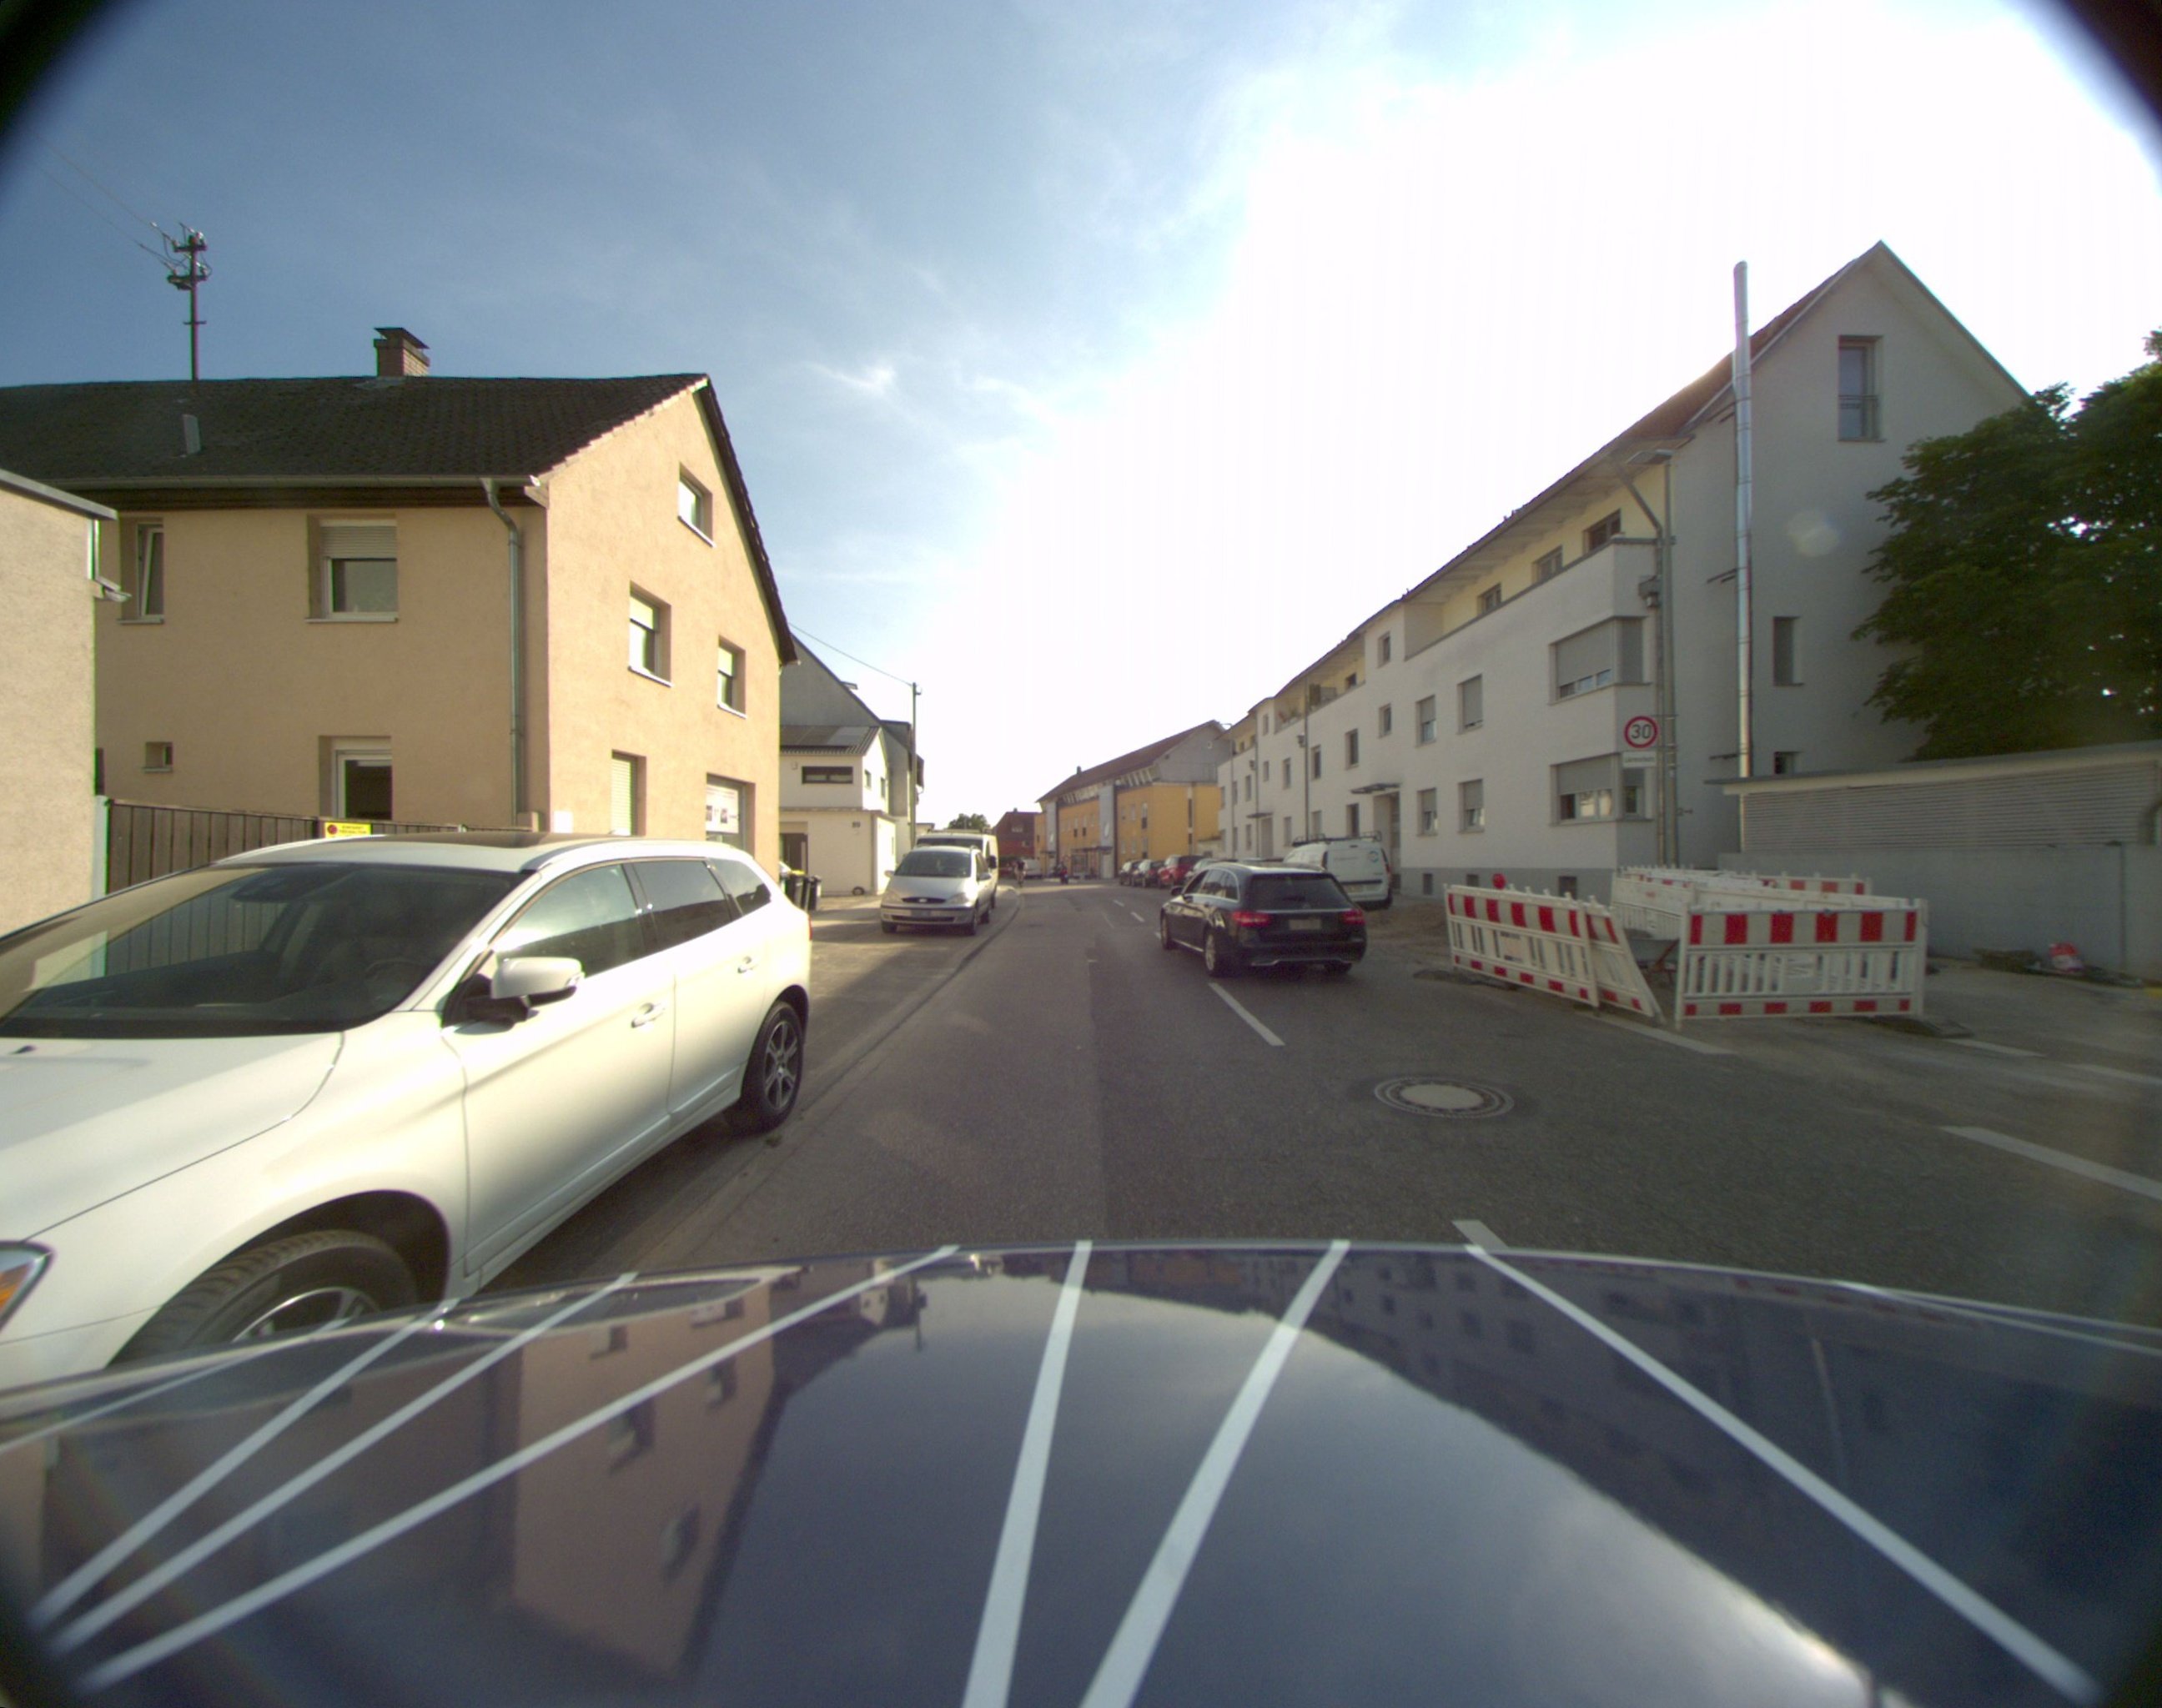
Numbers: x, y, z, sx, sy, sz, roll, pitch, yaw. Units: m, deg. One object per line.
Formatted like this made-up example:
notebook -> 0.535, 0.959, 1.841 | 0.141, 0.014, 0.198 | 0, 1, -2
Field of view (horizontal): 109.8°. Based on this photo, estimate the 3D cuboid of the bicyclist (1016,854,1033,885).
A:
bicyclist -> -3.161, 0.855, 42.716 | 0.846, 1.679, 0.877 | -1, 1, -10

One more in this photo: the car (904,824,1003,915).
car -> -3.523, 0.427, 21.966 | 2.180, 2.313, 4.996 | 1, -1, -2

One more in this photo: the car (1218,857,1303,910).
car -> 5.397, 0.842, 23.268 | 1.497, 1.456, 3.512 | -2, 0, -4

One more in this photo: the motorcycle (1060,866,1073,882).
motorcycle -> -0.966, 1.304, 49.180 | 0.770, 0.979, 2.198 | -1, 0, -3

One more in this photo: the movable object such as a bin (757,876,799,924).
movable object such as a bin -> -7.128, 1.066, 17.919 | 0.730, 1.087, 0.625 | -1, 0, -2

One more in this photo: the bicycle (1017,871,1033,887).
bicycle -> -3.144, 1.399, 42.593 | 0.681, 0.849, 2.025 | -1, 0, -10

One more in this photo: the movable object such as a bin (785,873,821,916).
movable object such as a bin -> -7.231, 1.047, 19.796 | 0.730, 1.087, 0.553 | -1, 0, -2

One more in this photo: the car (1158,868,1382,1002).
car -> 2.337, 0.944, 10.601 | 1.835, 1.412, 4.207 | 0, 0, -4

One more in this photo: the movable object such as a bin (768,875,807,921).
movable object such as a bin -> -7.158, 1.059, 18.530 | 0.730, 1.087, 0.553 | -1, 0, -2

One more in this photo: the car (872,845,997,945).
car -> -2.856, 0.747, 15.804 | 1.782, 1.731, 4.483 | 2, 0, -1

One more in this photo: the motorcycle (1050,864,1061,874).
motorcycle -> -2.862, 1.662, 84.687 | 0.584, 1.175, 1.875 | -1, 0, -20

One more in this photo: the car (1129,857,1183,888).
car -> 3.863, 0.956, 40.011 | 1.733, 1.469, 4.499 | -2, 0, -8

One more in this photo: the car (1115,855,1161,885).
car -> 3.356, 0.947, 45.596 | 1.781, 1.612, 4.175 | -3, 0, -8

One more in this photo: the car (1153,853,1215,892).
car -> 4.675, 0.816, 35.036 | 1.732, 1.612, 4.261 | -2, 0, -7

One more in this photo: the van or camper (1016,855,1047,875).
van or camper -> -5.101, 1.119, 78.095 | 2.002, 1.991, 4.913 | -1, 0, -18

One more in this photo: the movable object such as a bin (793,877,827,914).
movable object such as a bin -> -7.258, 1.115, 20.371 | 0.730, 0.953, 0.553 | -1, 0, -2

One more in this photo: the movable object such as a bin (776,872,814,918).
movable object such as a bin -> -7.212, 1.034, 19.189 | 0.730, 1.125, 0.553 | -1, 0, -2

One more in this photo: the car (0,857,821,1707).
car -> -2.616, 0.864, 2.728 | 1.817, 1.674, 4.476 | 1, 0, 0

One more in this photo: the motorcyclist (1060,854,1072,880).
motorcyclist -> -0.986, 0.836, 49.115 | 0.771, 1.642, 0.843 | -1, 1, -2

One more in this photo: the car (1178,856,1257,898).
car -> 5.157, 0.829, 29.265 | 1.733, 1.469, 4.260 | -1, 0, -8

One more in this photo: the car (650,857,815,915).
car -> -9.245, 0.802, 20.524 | 1.657, 1.399, 3.986 | 1, -1, 22

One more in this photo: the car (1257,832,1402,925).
car -> 5.848, 0.549, 18.504 | 1.732, 1.949, 4.437 | -1, 0, -5

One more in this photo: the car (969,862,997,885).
car -> -6.561, 1.272, 50.717 | 1.613, 1.412, 3.916 | 0, 0, -11
